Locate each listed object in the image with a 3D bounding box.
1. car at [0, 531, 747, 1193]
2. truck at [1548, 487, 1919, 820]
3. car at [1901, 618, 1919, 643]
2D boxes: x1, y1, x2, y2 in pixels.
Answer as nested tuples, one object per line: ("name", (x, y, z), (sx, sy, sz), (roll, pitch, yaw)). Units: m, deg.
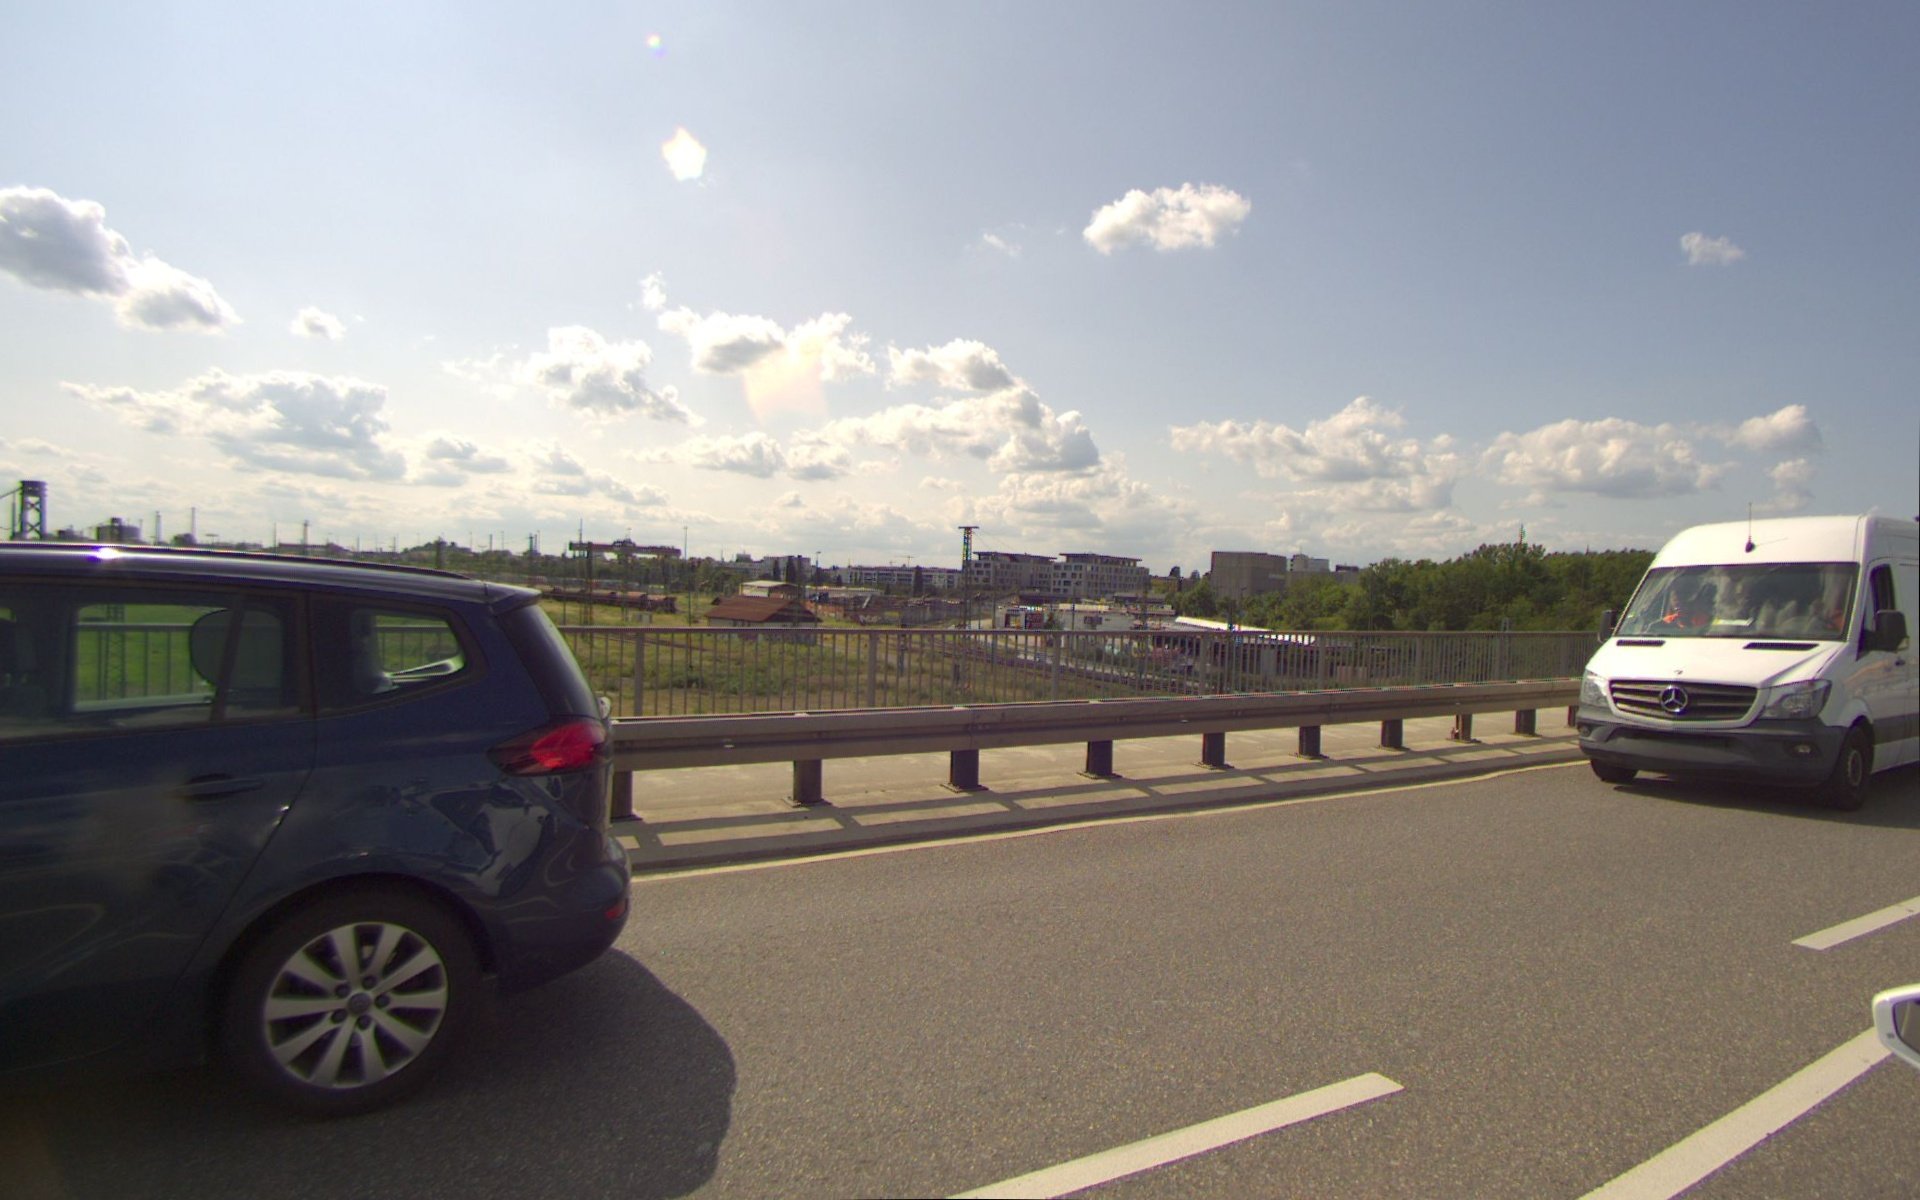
("car", (-3.053, 0.656, 3.123), (4.374, 1.653, 1.710), (1, -1, -29))
("truck", (8.441, 0.460, 10.152), (5.885, 2.541, 1.981), (1, -1, -34))
("car", (60.268, 1.865, 62.406), (1.788, 1.507, 3.991), (0, -1, 31))
